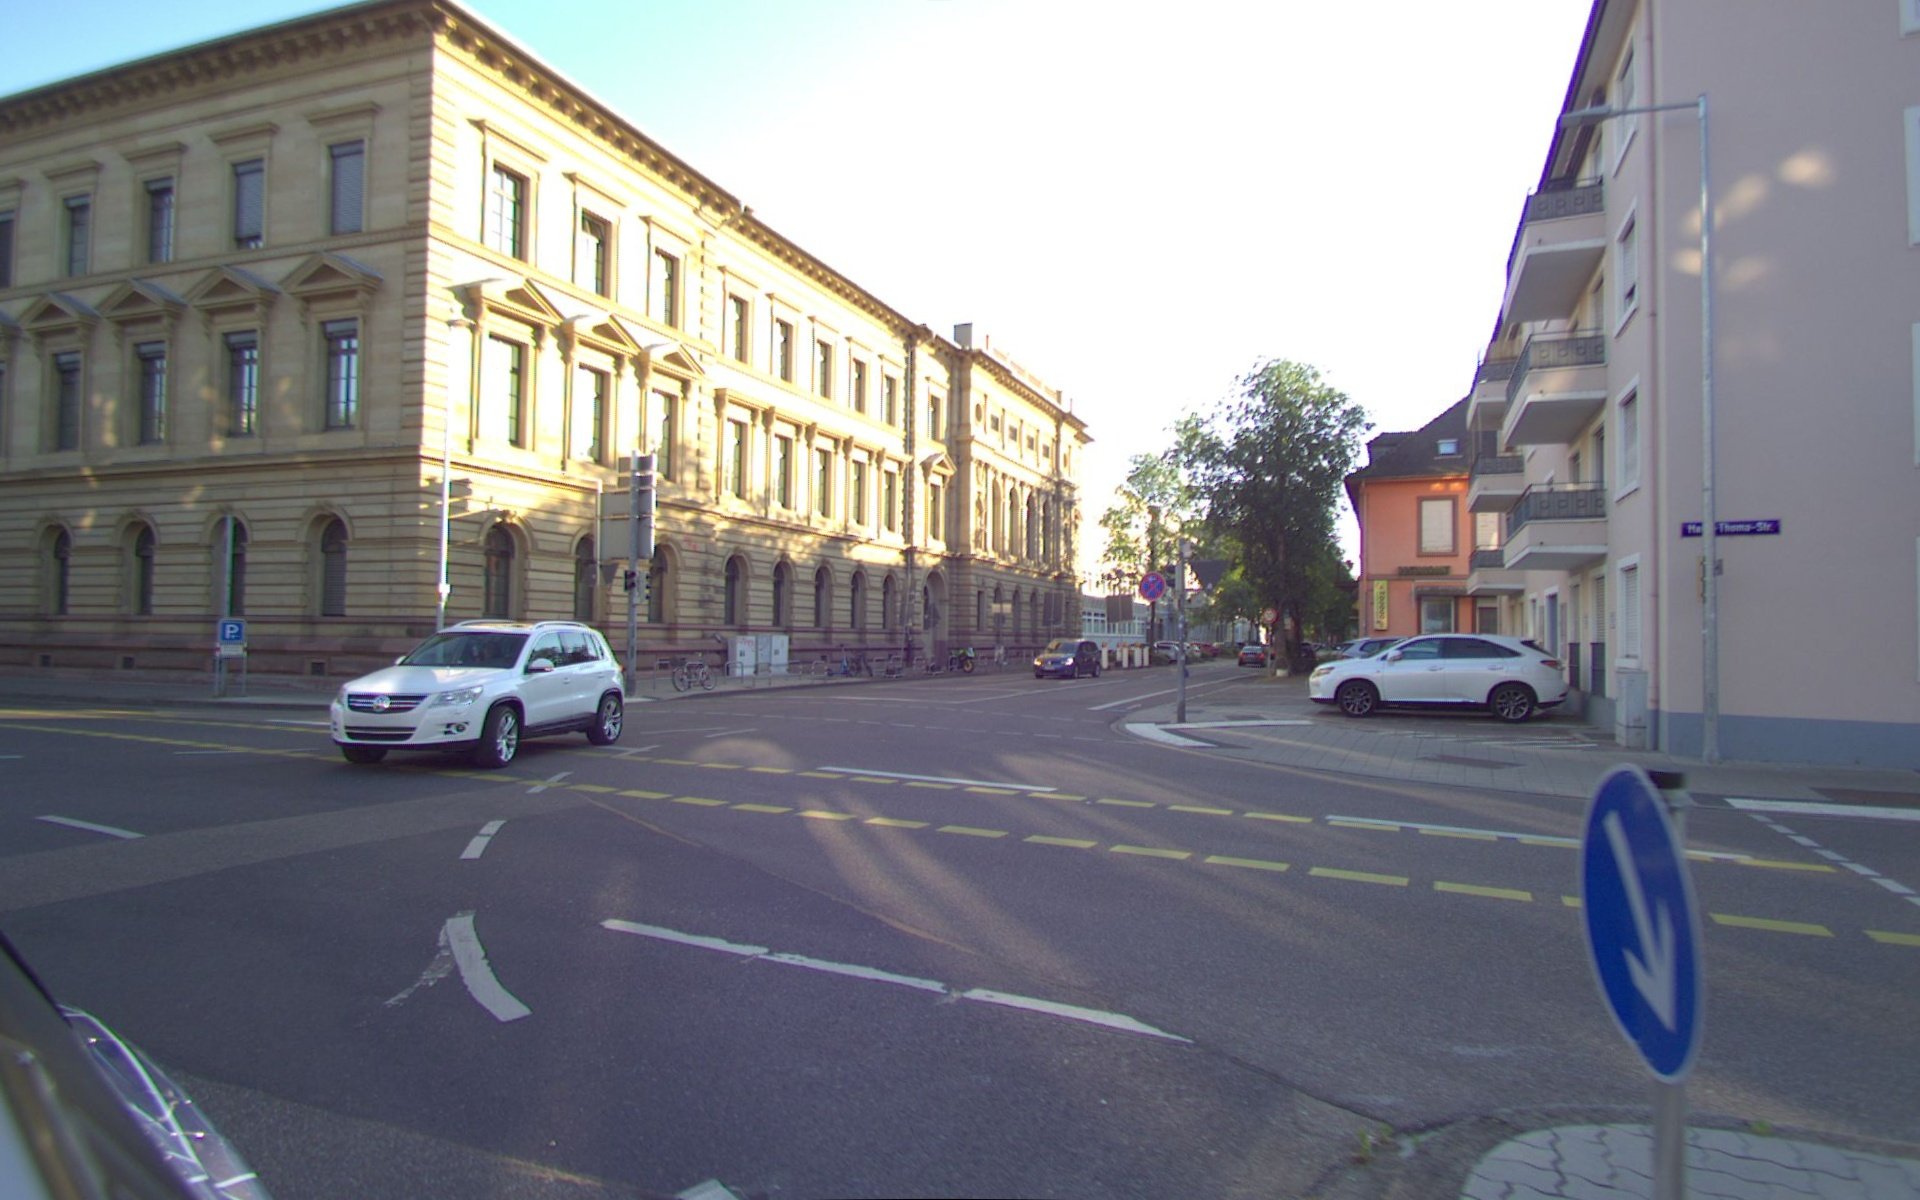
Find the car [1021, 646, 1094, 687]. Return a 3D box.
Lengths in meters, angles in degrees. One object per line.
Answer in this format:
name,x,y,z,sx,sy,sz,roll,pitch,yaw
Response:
car,4.053,2.686,41.476,1.939,1.567,3.970,0,-3,22

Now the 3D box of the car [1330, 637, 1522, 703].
car,12.189,1.859,26.743,4.404,1.617,1.901,-2,-4,23

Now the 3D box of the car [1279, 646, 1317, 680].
car,19.049,3.526,57.157,1.818,1.773,5.019,-4,-4,17

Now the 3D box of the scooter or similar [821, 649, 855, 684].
scooter or similar,-4.449,2.402,36.829,1.134,1.204,0.576,1,-2,43

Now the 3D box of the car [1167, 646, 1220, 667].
car,21.010,5.036,91.013,4.342,1.636,1.721,2,-2,22

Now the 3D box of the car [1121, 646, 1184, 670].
car,14.300,4.312,75.131,4.345,1.506,1.659,2,-2,24

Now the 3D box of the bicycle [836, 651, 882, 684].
bicycle,-3.801,2.516,38.089,0.825,1.143,1.928,2,-2,24

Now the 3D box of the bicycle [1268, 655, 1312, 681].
bicycle,14.629,2.999,44.875,1.857,1.112,0.607,-1,-3,18

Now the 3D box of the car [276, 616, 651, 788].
car,-5.722,1.111,12.467,1.935,1.690,4.531,0,-3,8

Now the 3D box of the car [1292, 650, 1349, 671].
car,29.233,4.884,82.094,4.211,1.557,1.784,-1,-3,27

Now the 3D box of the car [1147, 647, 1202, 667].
car,18.388,4.847,86.749,4.341,1.505,1.873,1,-2,22

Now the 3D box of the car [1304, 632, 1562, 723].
car,9.315,1.553,20.315,4.426,1.653,1.927,-2,-4,23

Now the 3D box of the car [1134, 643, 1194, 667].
car,16.388,4.399,81.232,4.342,1.655,2.039,2,-2,22

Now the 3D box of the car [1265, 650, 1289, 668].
car,30.010,5.569,95.734,1.824,1.557,4.811,1,-3,22

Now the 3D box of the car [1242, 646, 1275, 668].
car,21.341,4.029,72.262,1.777,1.470,4.388,0,-2,23

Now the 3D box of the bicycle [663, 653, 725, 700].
bicycle,-7.287,2.079,27.821,0.580,1.197,1.905,-1,-1,24

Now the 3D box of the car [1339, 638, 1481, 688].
car,15.799,2.245,35.744,4.404,1.678,1.849,-2,-4,23

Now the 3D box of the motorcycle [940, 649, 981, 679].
motorcycle,-0.002,2.891,45.772,0.698,1.224,2.109,4,-2,-36
